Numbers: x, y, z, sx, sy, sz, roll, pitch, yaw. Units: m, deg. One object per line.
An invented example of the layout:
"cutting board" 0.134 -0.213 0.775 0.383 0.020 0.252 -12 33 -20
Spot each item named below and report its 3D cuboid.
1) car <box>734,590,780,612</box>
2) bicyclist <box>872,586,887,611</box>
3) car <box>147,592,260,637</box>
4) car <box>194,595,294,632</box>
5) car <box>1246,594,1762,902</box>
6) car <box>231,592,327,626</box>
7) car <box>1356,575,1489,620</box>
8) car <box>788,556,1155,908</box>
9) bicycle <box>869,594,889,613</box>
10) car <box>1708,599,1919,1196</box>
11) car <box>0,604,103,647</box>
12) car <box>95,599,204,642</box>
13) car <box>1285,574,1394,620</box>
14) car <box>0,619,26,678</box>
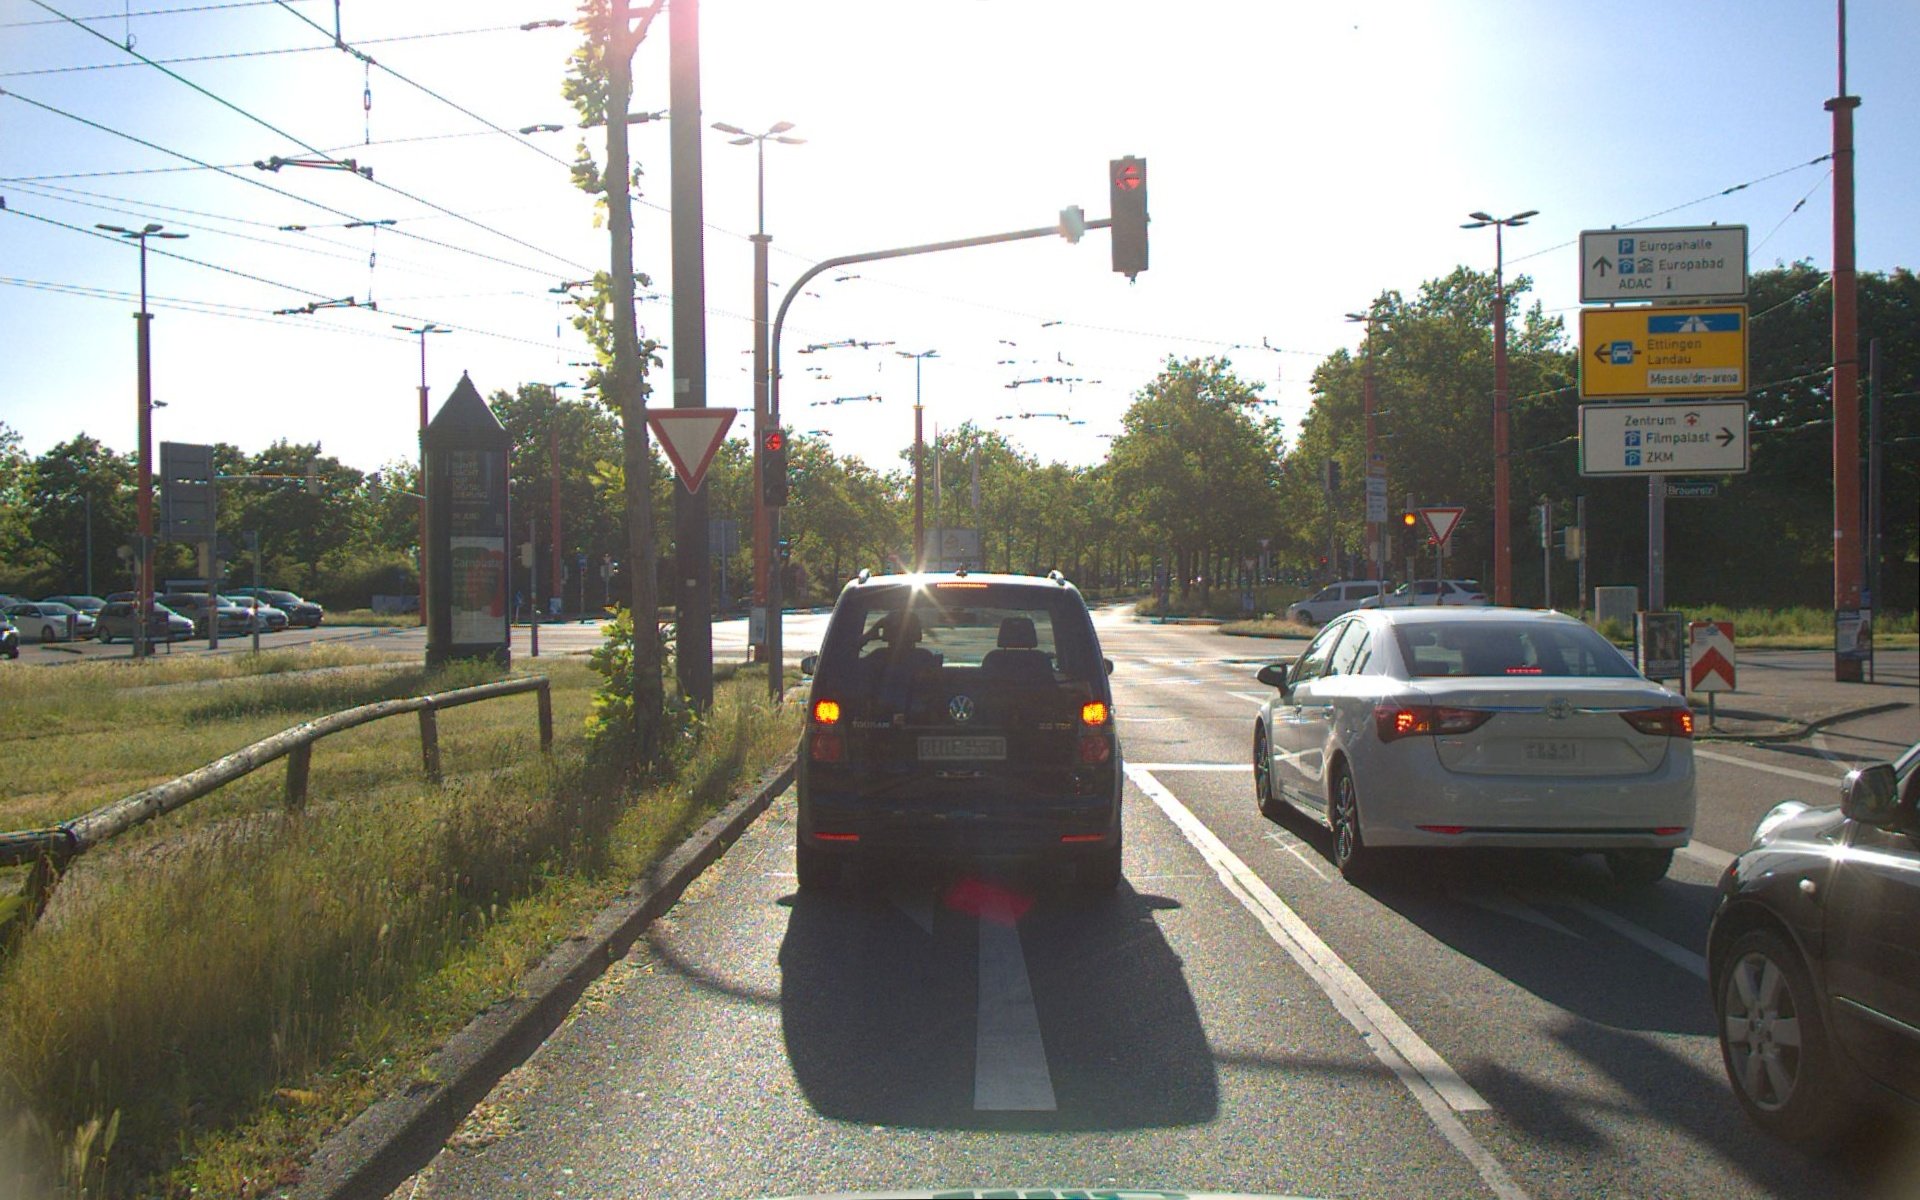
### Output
"car" -13.266 0.046 108.054 1.616 1.427 4.136 0 0 14
"bicyclist" -6.209 -0.106 127.025 0.955 1.937 1.051 0 0 10
"car" -29.320 0.539 64.091 4.541 1.676 1.654 0 0 30
"car" -29.407 0.530 67.926 4.060 1.440 1.542 0 0 26
"car" 3.016 0.727 10.186 1.762 1.465 4.326 1 0 0
"car" -29.471 0.371 71.548 4.060 1.440 1.542 0 0 26
"car" 17.224 -0.113 61.692 4.568 1.654 1.655 0 0 26
"car" 0.068 0.633 9.964 1.703 1.630 4.326 1 0 0
"bicycle" -6.216 0.253 126.984 0.955 1.413 2.982 0 0 10
"car" 3.137 0.740 3.489 1.544 1.465 3.441 1 0 0
"car" -34.940 0.968 63.252 4.536 1.546 1.654 0 0 30
"car" -29.546 0.729 60.299 3.755 1.466 1.655 0 0 27
"car" 15.208 -0.136 66.300 4.037 1.780 1.655 0 0 25
"car" -29.171 1.425 49.880 1.633 1.647 4.254 0 0 -29
